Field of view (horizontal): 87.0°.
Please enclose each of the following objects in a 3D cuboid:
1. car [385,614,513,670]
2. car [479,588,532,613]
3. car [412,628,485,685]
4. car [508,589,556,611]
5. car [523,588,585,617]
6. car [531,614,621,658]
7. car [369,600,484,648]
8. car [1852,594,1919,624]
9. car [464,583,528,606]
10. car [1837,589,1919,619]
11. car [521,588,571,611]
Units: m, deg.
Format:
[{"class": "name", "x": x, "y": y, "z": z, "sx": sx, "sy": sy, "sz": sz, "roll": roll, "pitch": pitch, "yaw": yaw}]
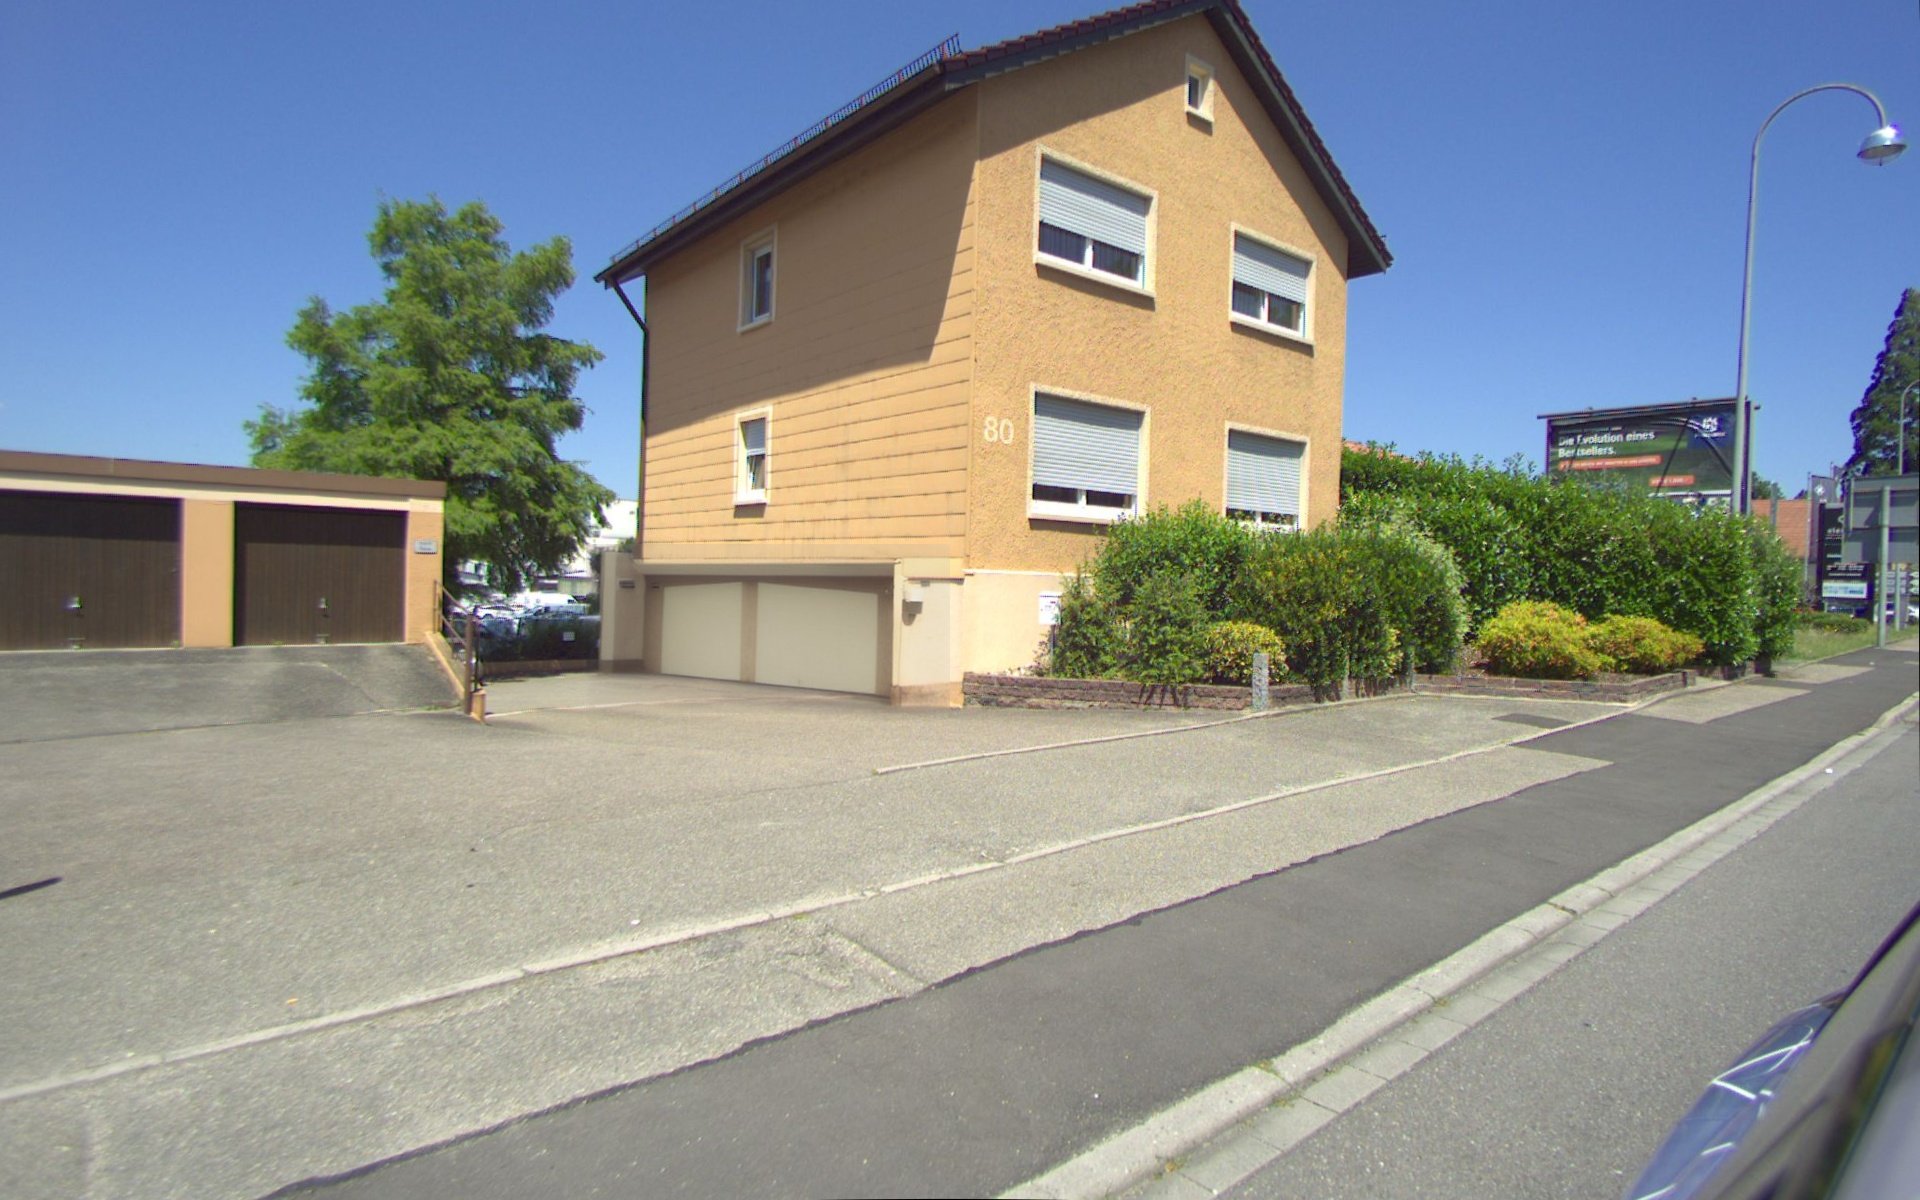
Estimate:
[{"class": "car", "x": -20.454, "y": 1.629, "z": 40.587, "sx": 4.300, "sy": 2.039, "sz": 1.998, "roll": 0, "pitch": -1, "yaw": -38}, {"class": "car", "x": -38.385, "y": 0.053, "z": 85.406, "sx": 3.721, "sy": 2.039, "sz": 1.998, "roll": 0, "pitch": -1, "yaw": -38}, {"class": "car", "x": -16.576, "y": 1.767, "z": 32.698, "sx": 1.617, "sy": 1.619, "sz": 4.207, "roll": 0, "pitch": 0, "yaw": -34}, {"class": "car", "x": -40.799, "y": 0.033, "z": 96.436, "sx": 3.850, "sy": 2.039, "sz": 1.998, "roll": 0, "pitch": -1, "yaw": -38}, {"class": "car", "x": -28.838, "y": 0.158, "z": 71.912, "sx": 3.721, "sy": 2.039, "sz": 1.998, "roll": 0, "pitch": -1, "yaw": -38}, {"class": "car", "x": -16.775, "y": 1.546, "z": 44.268, "sx": 3.292, "sy": 1.813, "sz": 1.689, "roll": 0, "pitch": 0, "yaw": -41}, {"class": "car", "x": -23.979, "y": 1.036, "z": 45.557, "sx": 4.300, "sy": 2.039, "sz": 1.998, "roll": 0, "pitch": -1, "yaw": -38}, {"class": "car", "x": 46.944, "y": 0.448, "z": 50.352, "sx": 1.598, "sy": 1.400, "sz": 3.637, "roll": 0, "pitch": 2, "yaw": -39}, {"class": "car", "x": -51.808, "y": -0.657, "z": 113.067, "sx": 6.030, "sy": 2.439, "sz": 2.505, "roll": -1, "pitch": 1, "yaw": -39}, {"class": "car", "x": 52.178, "y": 0.199, "z": 57.268, "sx": 1.598, "sy": 1.570, "sz": 3.637, "roll": 0, "pitch": 2, "yaw": -39}, {"class": "car", "x": -37.410, "y": -0.022, "z": 91.473, "sx": 3.850, "sy": 2.039, "sz": 1.998, "roll": 0, "pitch": -1, "yaw": -38}]
